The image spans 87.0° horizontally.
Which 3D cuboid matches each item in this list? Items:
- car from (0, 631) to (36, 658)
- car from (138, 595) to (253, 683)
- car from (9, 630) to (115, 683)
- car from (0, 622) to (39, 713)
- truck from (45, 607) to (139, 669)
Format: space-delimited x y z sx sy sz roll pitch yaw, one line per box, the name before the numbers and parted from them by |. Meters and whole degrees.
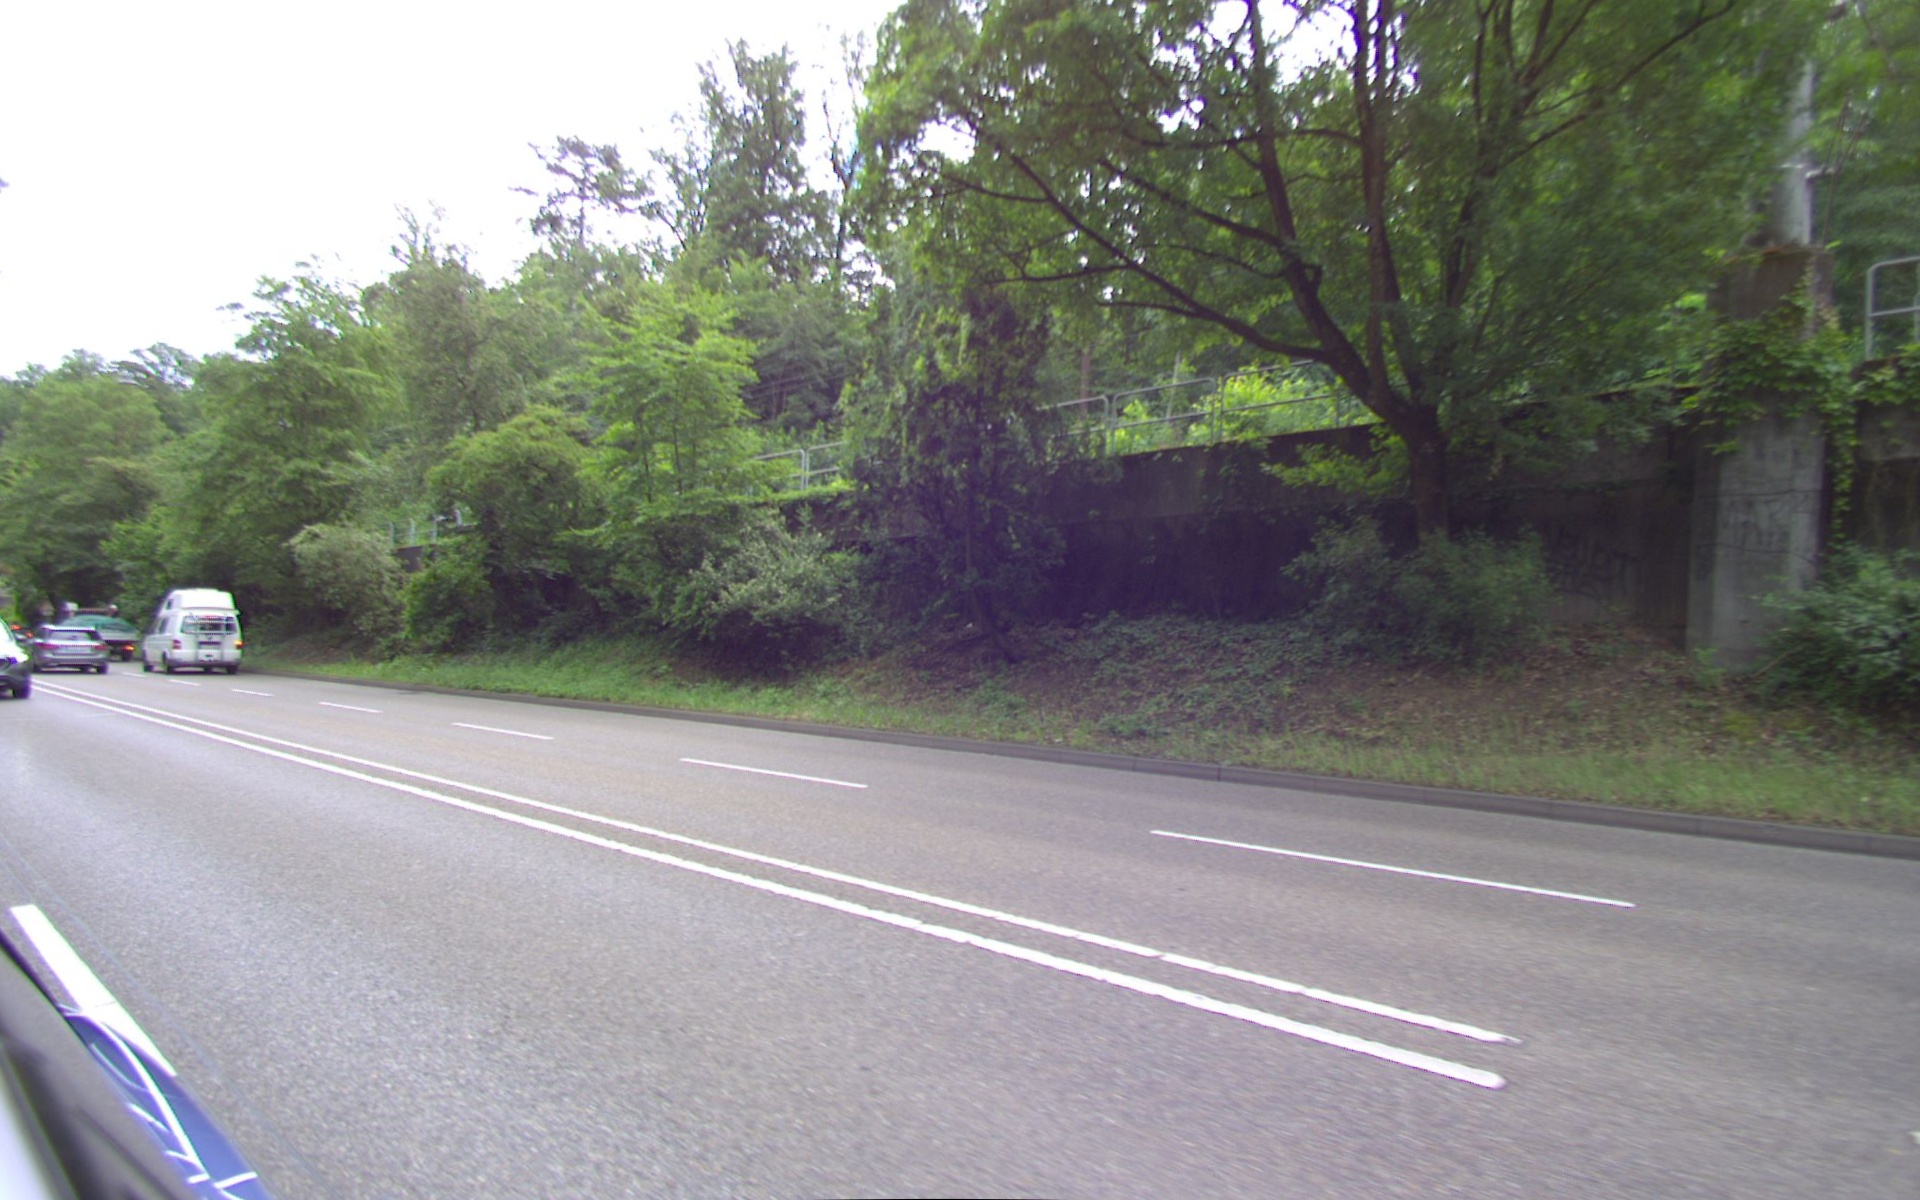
car | -54.262 2.524 57.809 3.997 1.497 1.653 -1 -3 40
car | -24.381 1.237 32.207 4.913 2.575 1.867 -1 -4 41
car | -27.444 1.683 30.876 4.463 1.477 1.820 -1 -2 41
car | -19.738 1.260 19.889 4.190 1.675 1.847 -1 -4 41
truck | -37.289 1.607 43.391 6.464 2.429 2.153 -1 -5 42
